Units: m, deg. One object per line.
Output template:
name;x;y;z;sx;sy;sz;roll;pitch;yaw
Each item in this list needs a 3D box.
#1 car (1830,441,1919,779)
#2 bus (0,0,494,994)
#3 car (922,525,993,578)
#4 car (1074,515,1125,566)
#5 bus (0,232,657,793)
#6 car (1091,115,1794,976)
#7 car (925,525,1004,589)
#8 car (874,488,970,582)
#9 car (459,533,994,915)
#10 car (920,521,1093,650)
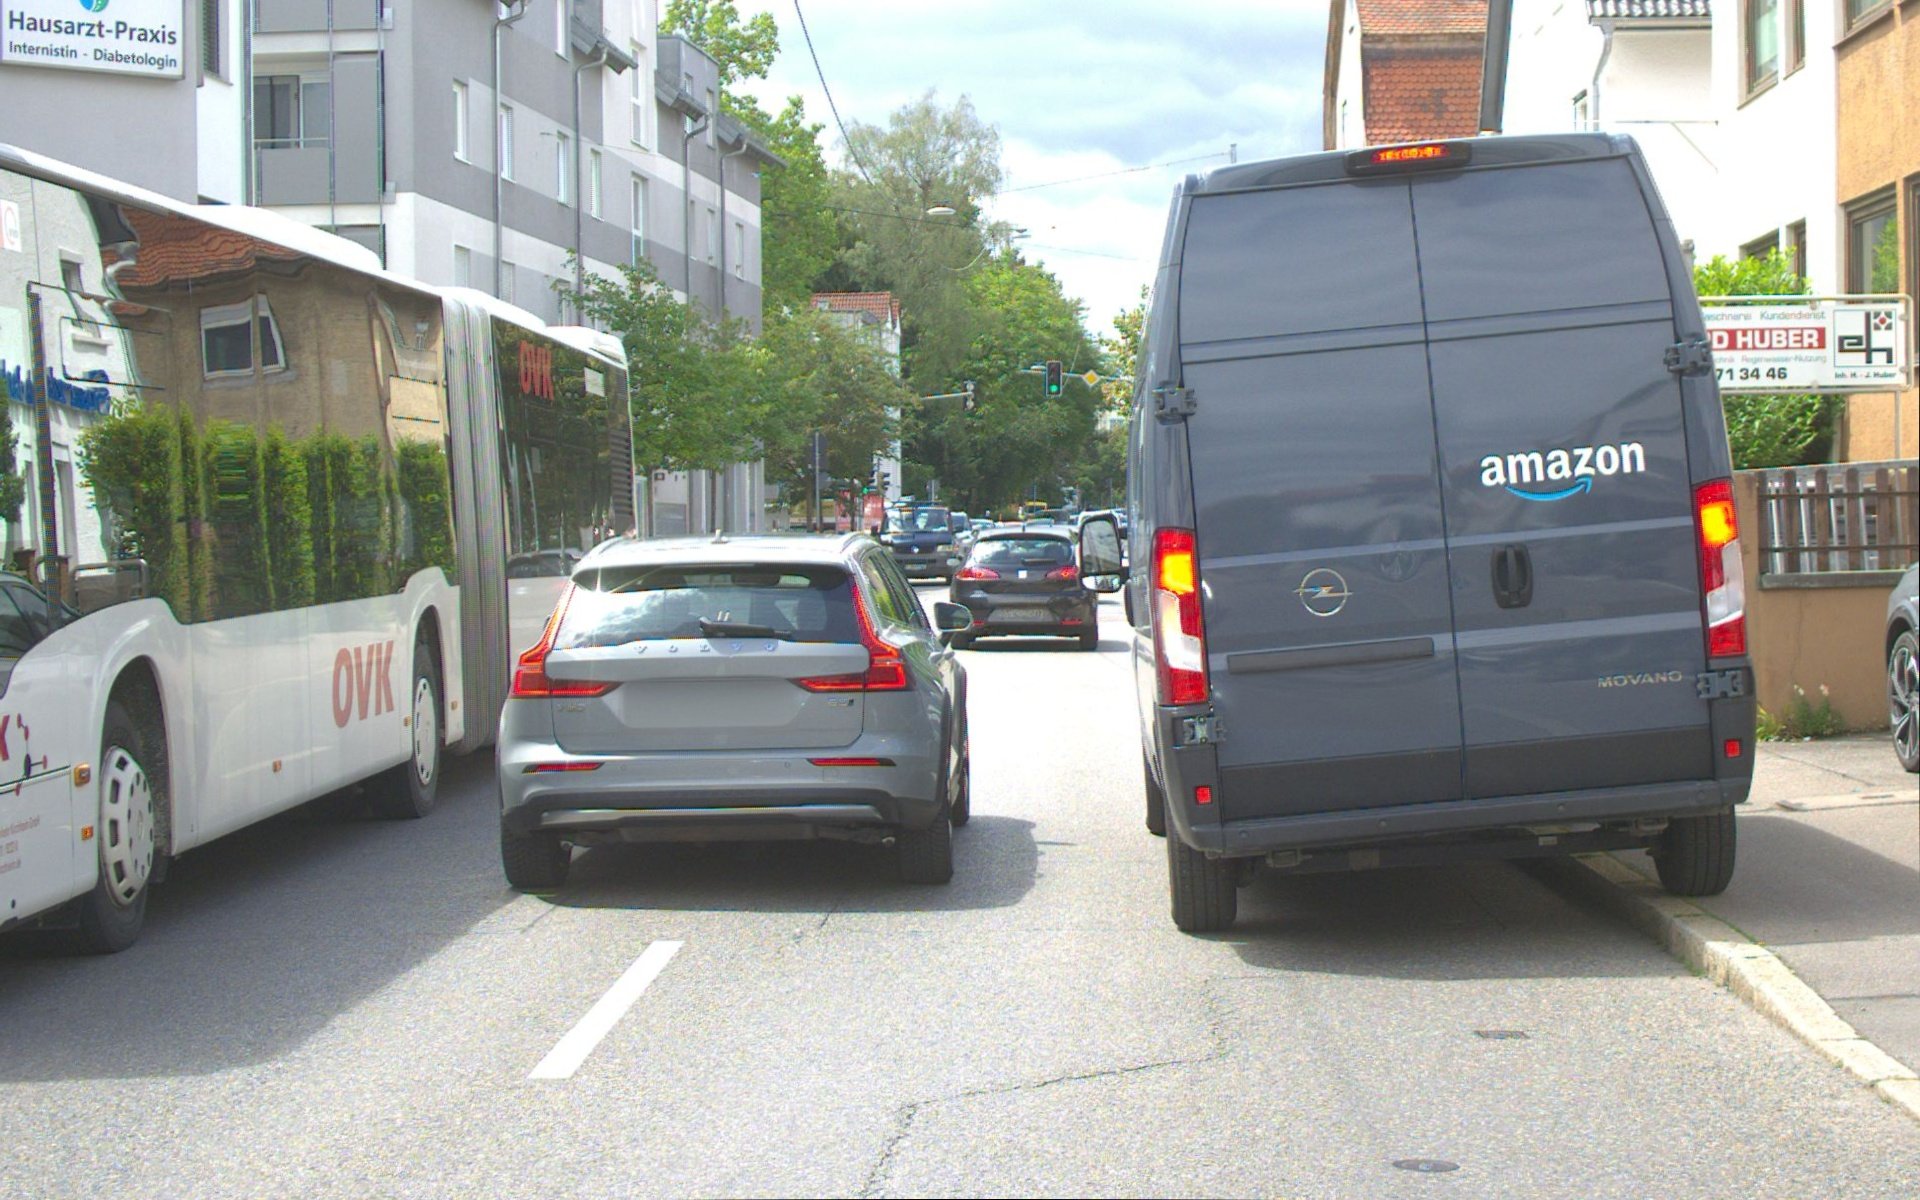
car;5.463;0.033;15.629;1.860;1.606;4.586;-2;2;1
bus;-4.220;-0.422;14.736;2.682;3.153;10.184;-1;1;2
car;-0.059;-1.533;107.071;2.105;1.590;4.650;-1;1;1
car;5.678;-2.432;139.662;1.994;2.007;4.000;-1;1;3
bus;-3.977;-0.589;23.715;2.716;3.153;8.068;-1;1;2
car;1.720;-0.235;14.054;2.253;2.786;5.569;-1;1;3
car;0.146;-1.213;95.397;2.105;1.704;4.766;-1;1;1
car;-0.883;-1.588;83.569;2.105;2.114;4.766;-3;1;1
car;-0.888;0.446;15.292;1.896;1.448;3.968;0;1;3
car;0.601;-0.212;41.012;1.896;1.441;3.968;0;1;3
